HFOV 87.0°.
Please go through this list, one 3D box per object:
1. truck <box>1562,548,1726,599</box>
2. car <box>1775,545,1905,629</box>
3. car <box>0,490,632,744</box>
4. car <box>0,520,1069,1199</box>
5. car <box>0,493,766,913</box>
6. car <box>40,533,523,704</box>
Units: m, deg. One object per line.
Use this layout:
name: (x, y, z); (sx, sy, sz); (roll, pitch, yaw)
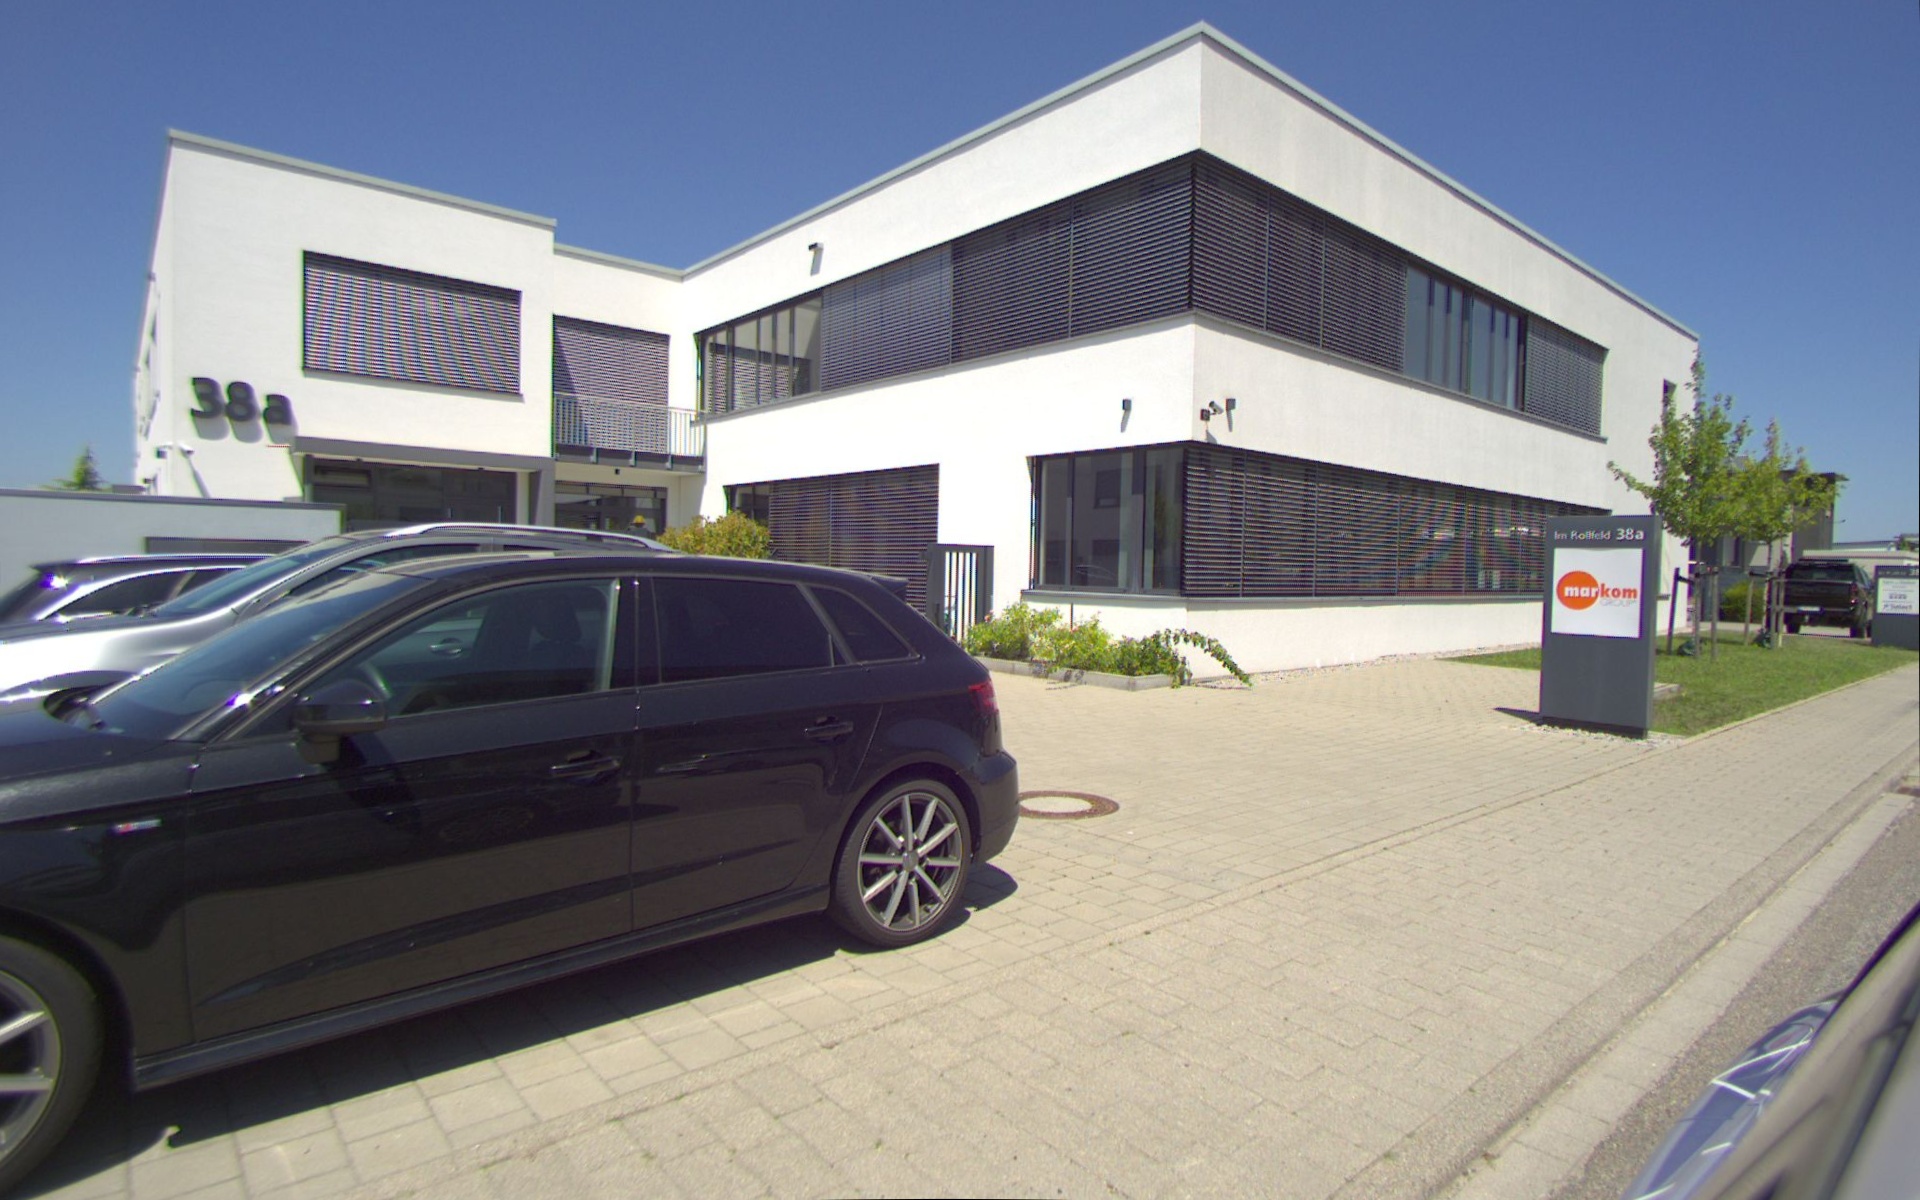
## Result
truck: (43.781, -1.736, 65.107); (2.579, 3.059, 8.352); (-1, 2, -40)
car: (24.022, -0.307, 27.531); (5.700, 2.039, 1.997); (2, 1, -43)
car: (-4.756, 0.059, 7.713); (3.952, 1.467, 1.726); (-1, 1, -41)
car: (-1.677, 0.530, 3.414); (4.172, 1.445, 1.695); (-1, 1, -41)
car: (-3.244, 0.371, 5.598); (3.952, 1.653, 1.726); (-1, 1, -41)
car: (-6.876, 0.115, 10.554); (3.952, 1.454, 1.726); (-1, 1, -41)
